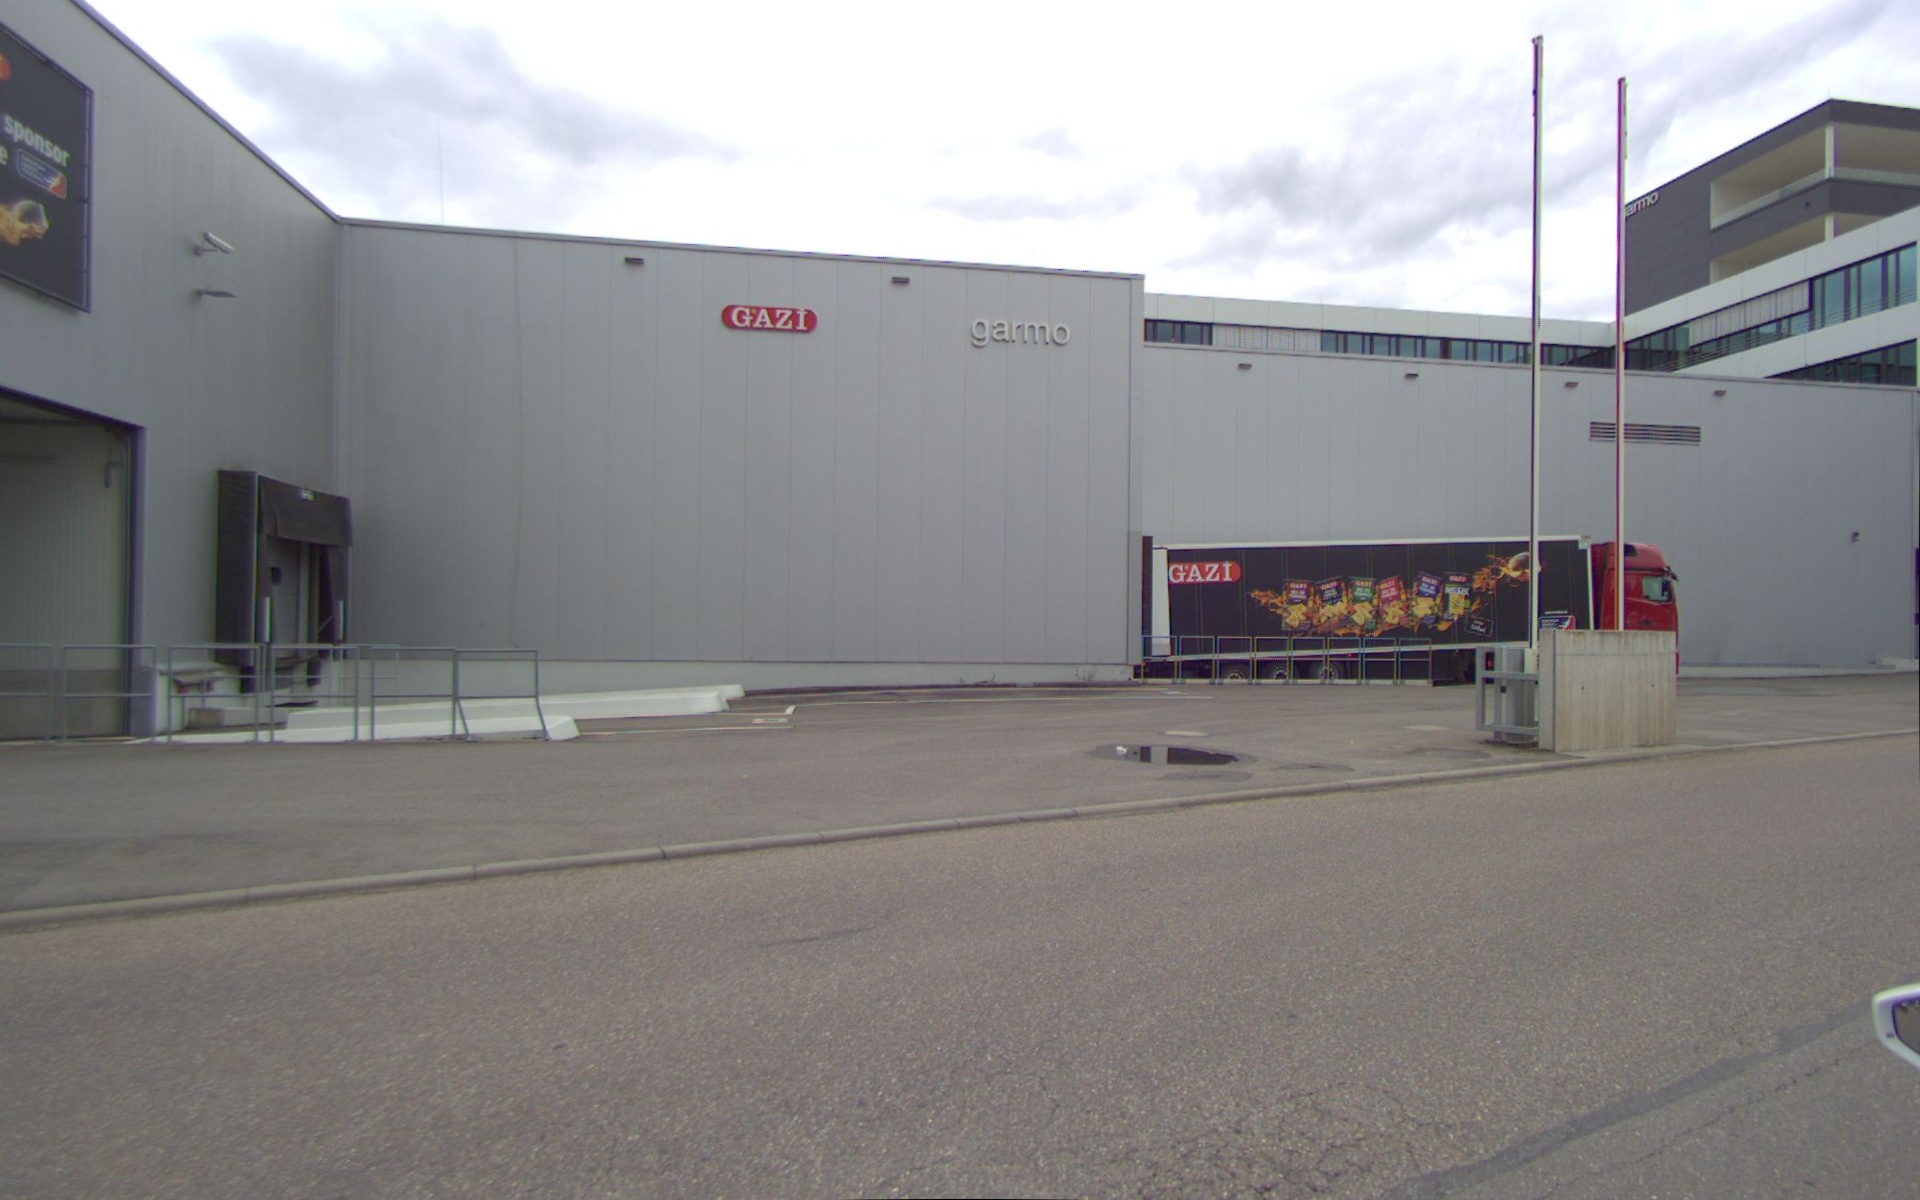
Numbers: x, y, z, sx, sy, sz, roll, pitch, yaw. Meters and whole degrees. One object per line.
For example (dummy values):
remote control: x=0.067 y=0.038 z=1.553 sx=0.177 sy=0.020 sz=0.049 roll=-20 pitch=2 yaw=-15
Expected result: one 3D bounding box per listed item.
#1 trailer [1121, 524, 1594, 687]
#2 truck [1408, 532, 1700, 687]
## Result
trailer: x=10.816 y=0.214 z=27.514 sx=12.387 sy=4.084 sz=2.747 roll=1 pitch=0 yaw=-9
truck: x=16.706 y=0.302 z=28.451 sx=6.963 sy=4.084 sz=2.747 roll=1 pitch=0 yaw=-9
